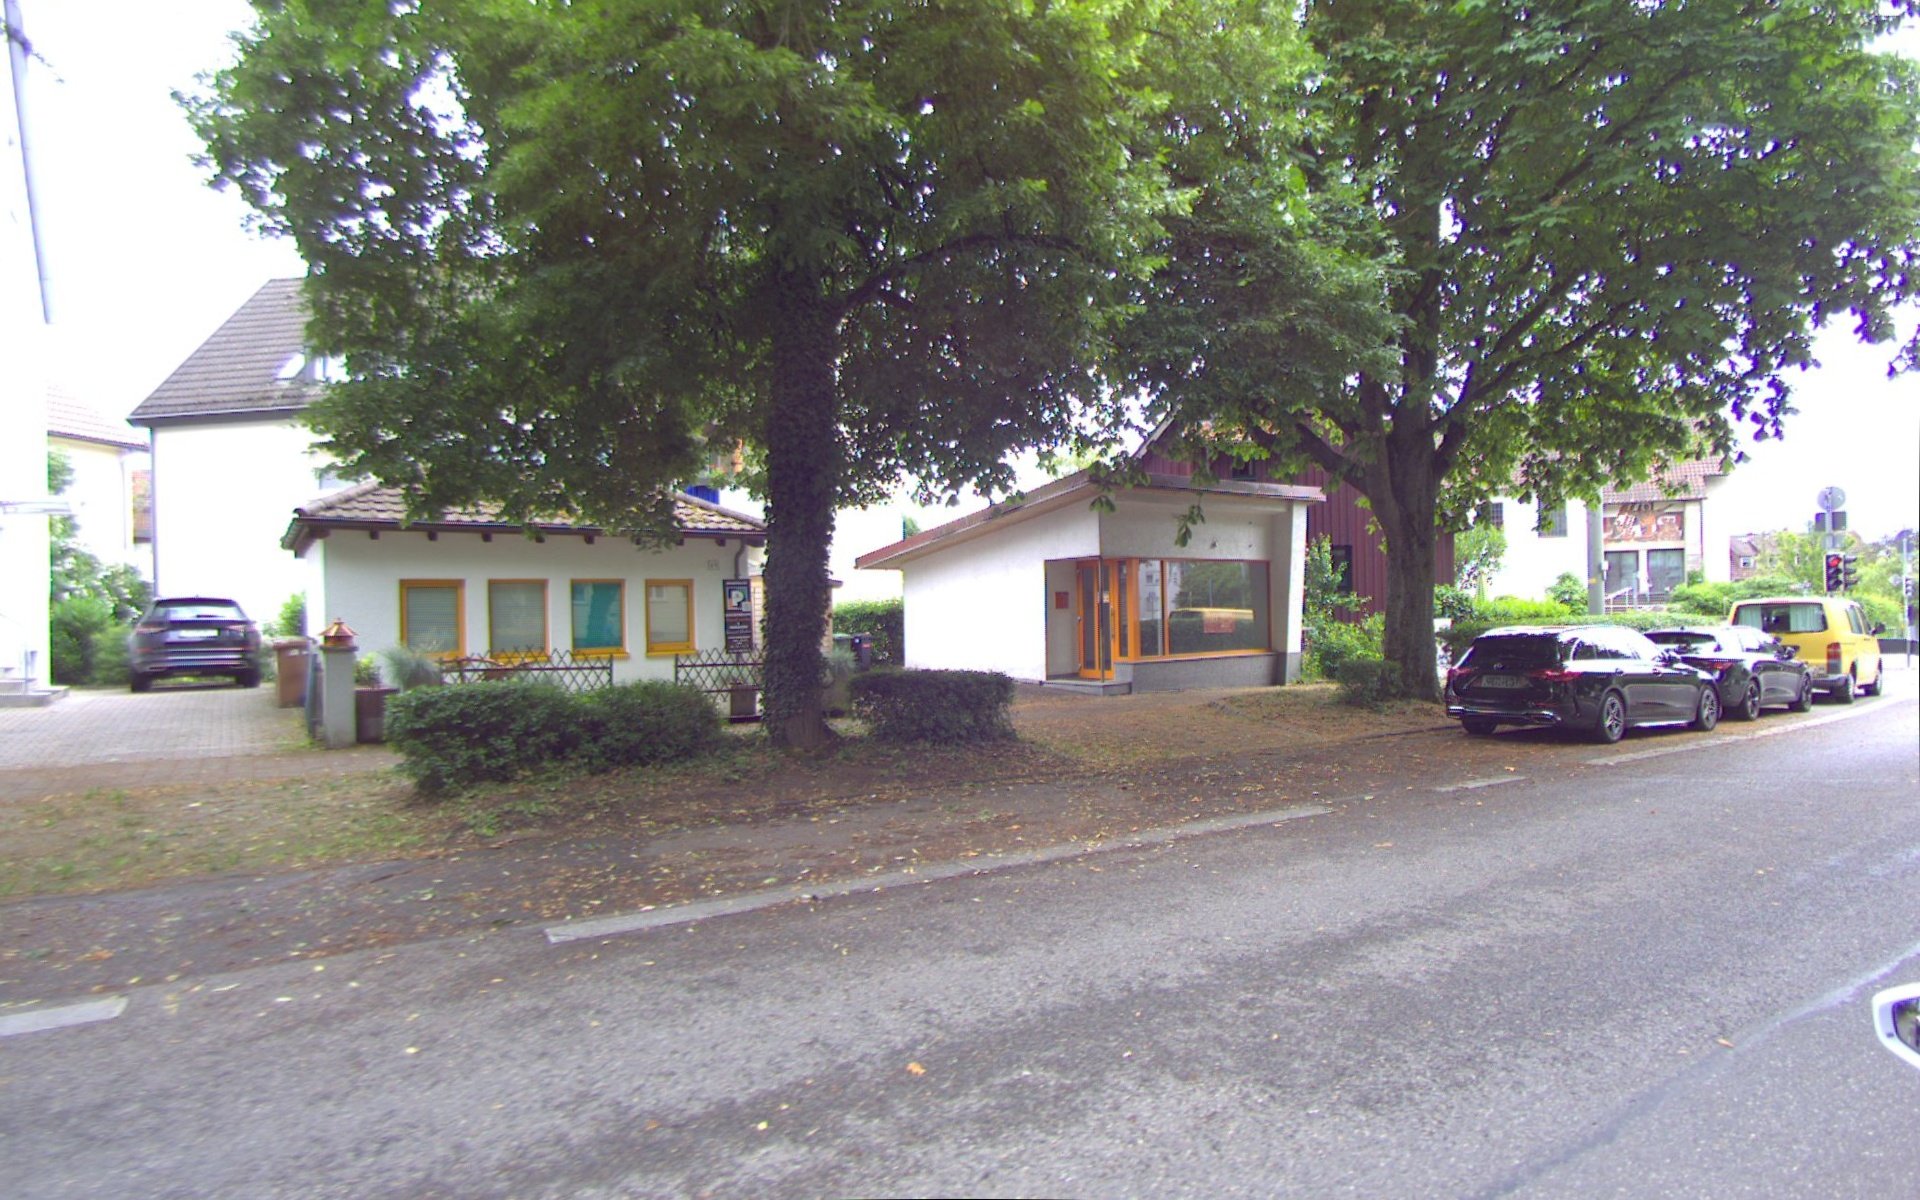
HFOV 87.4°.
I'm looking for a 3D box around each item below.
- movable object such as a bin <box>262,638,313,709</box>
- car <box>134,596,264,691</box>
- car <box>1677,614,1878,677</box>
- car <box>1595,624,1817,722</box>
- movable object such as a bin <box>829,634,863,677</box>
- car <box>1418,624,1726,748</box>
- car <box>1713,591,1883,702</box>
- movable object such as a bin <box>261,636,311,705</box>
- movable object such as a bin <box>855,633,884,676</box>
[{"bbox_3d":[-9.296,1.006,13.904,0.568,0.935,0.484,0,1,-32],"label":"movable object such as a bin"},{"bbox_3d":[-13.838,0.713,18.368,1.718,1.530,3.958,1,0,-36],"label":"car"},{"bbox_3d":[22.105,1.188,27.270,1.785,1.530,3.955,-2,0,-39],"label":"car"},{"bbox_3d":[12.479,1.132,16.737,4.148,1.434,1.782,1,-2,-36],"label":"car"},{"bbox_3d":[-2.611,1.259,23.028,0.612,0.942,0.519,0,0,-35],"label":"movable object such as a bin"},{"bbox_3d":[8.379,1.060,13.640,4.507,1.429,1.880,1,-3,-34],"label":"car"},{"bbox_3d":[16.896,0.907,20.188,4.467,1.989,1.842,2,-3,-40],"label":"car"},{"bbox_3d":[-9.605,0.993,14.323,0.568,0.935,0.484,0,1,-32],"label":"movable object such as a bin"},{"bbox_3d":[-2.102,1.259,23.298,0.483,0.942,0.519,0,0,-35],"label":"movable object such as a bin"}]
